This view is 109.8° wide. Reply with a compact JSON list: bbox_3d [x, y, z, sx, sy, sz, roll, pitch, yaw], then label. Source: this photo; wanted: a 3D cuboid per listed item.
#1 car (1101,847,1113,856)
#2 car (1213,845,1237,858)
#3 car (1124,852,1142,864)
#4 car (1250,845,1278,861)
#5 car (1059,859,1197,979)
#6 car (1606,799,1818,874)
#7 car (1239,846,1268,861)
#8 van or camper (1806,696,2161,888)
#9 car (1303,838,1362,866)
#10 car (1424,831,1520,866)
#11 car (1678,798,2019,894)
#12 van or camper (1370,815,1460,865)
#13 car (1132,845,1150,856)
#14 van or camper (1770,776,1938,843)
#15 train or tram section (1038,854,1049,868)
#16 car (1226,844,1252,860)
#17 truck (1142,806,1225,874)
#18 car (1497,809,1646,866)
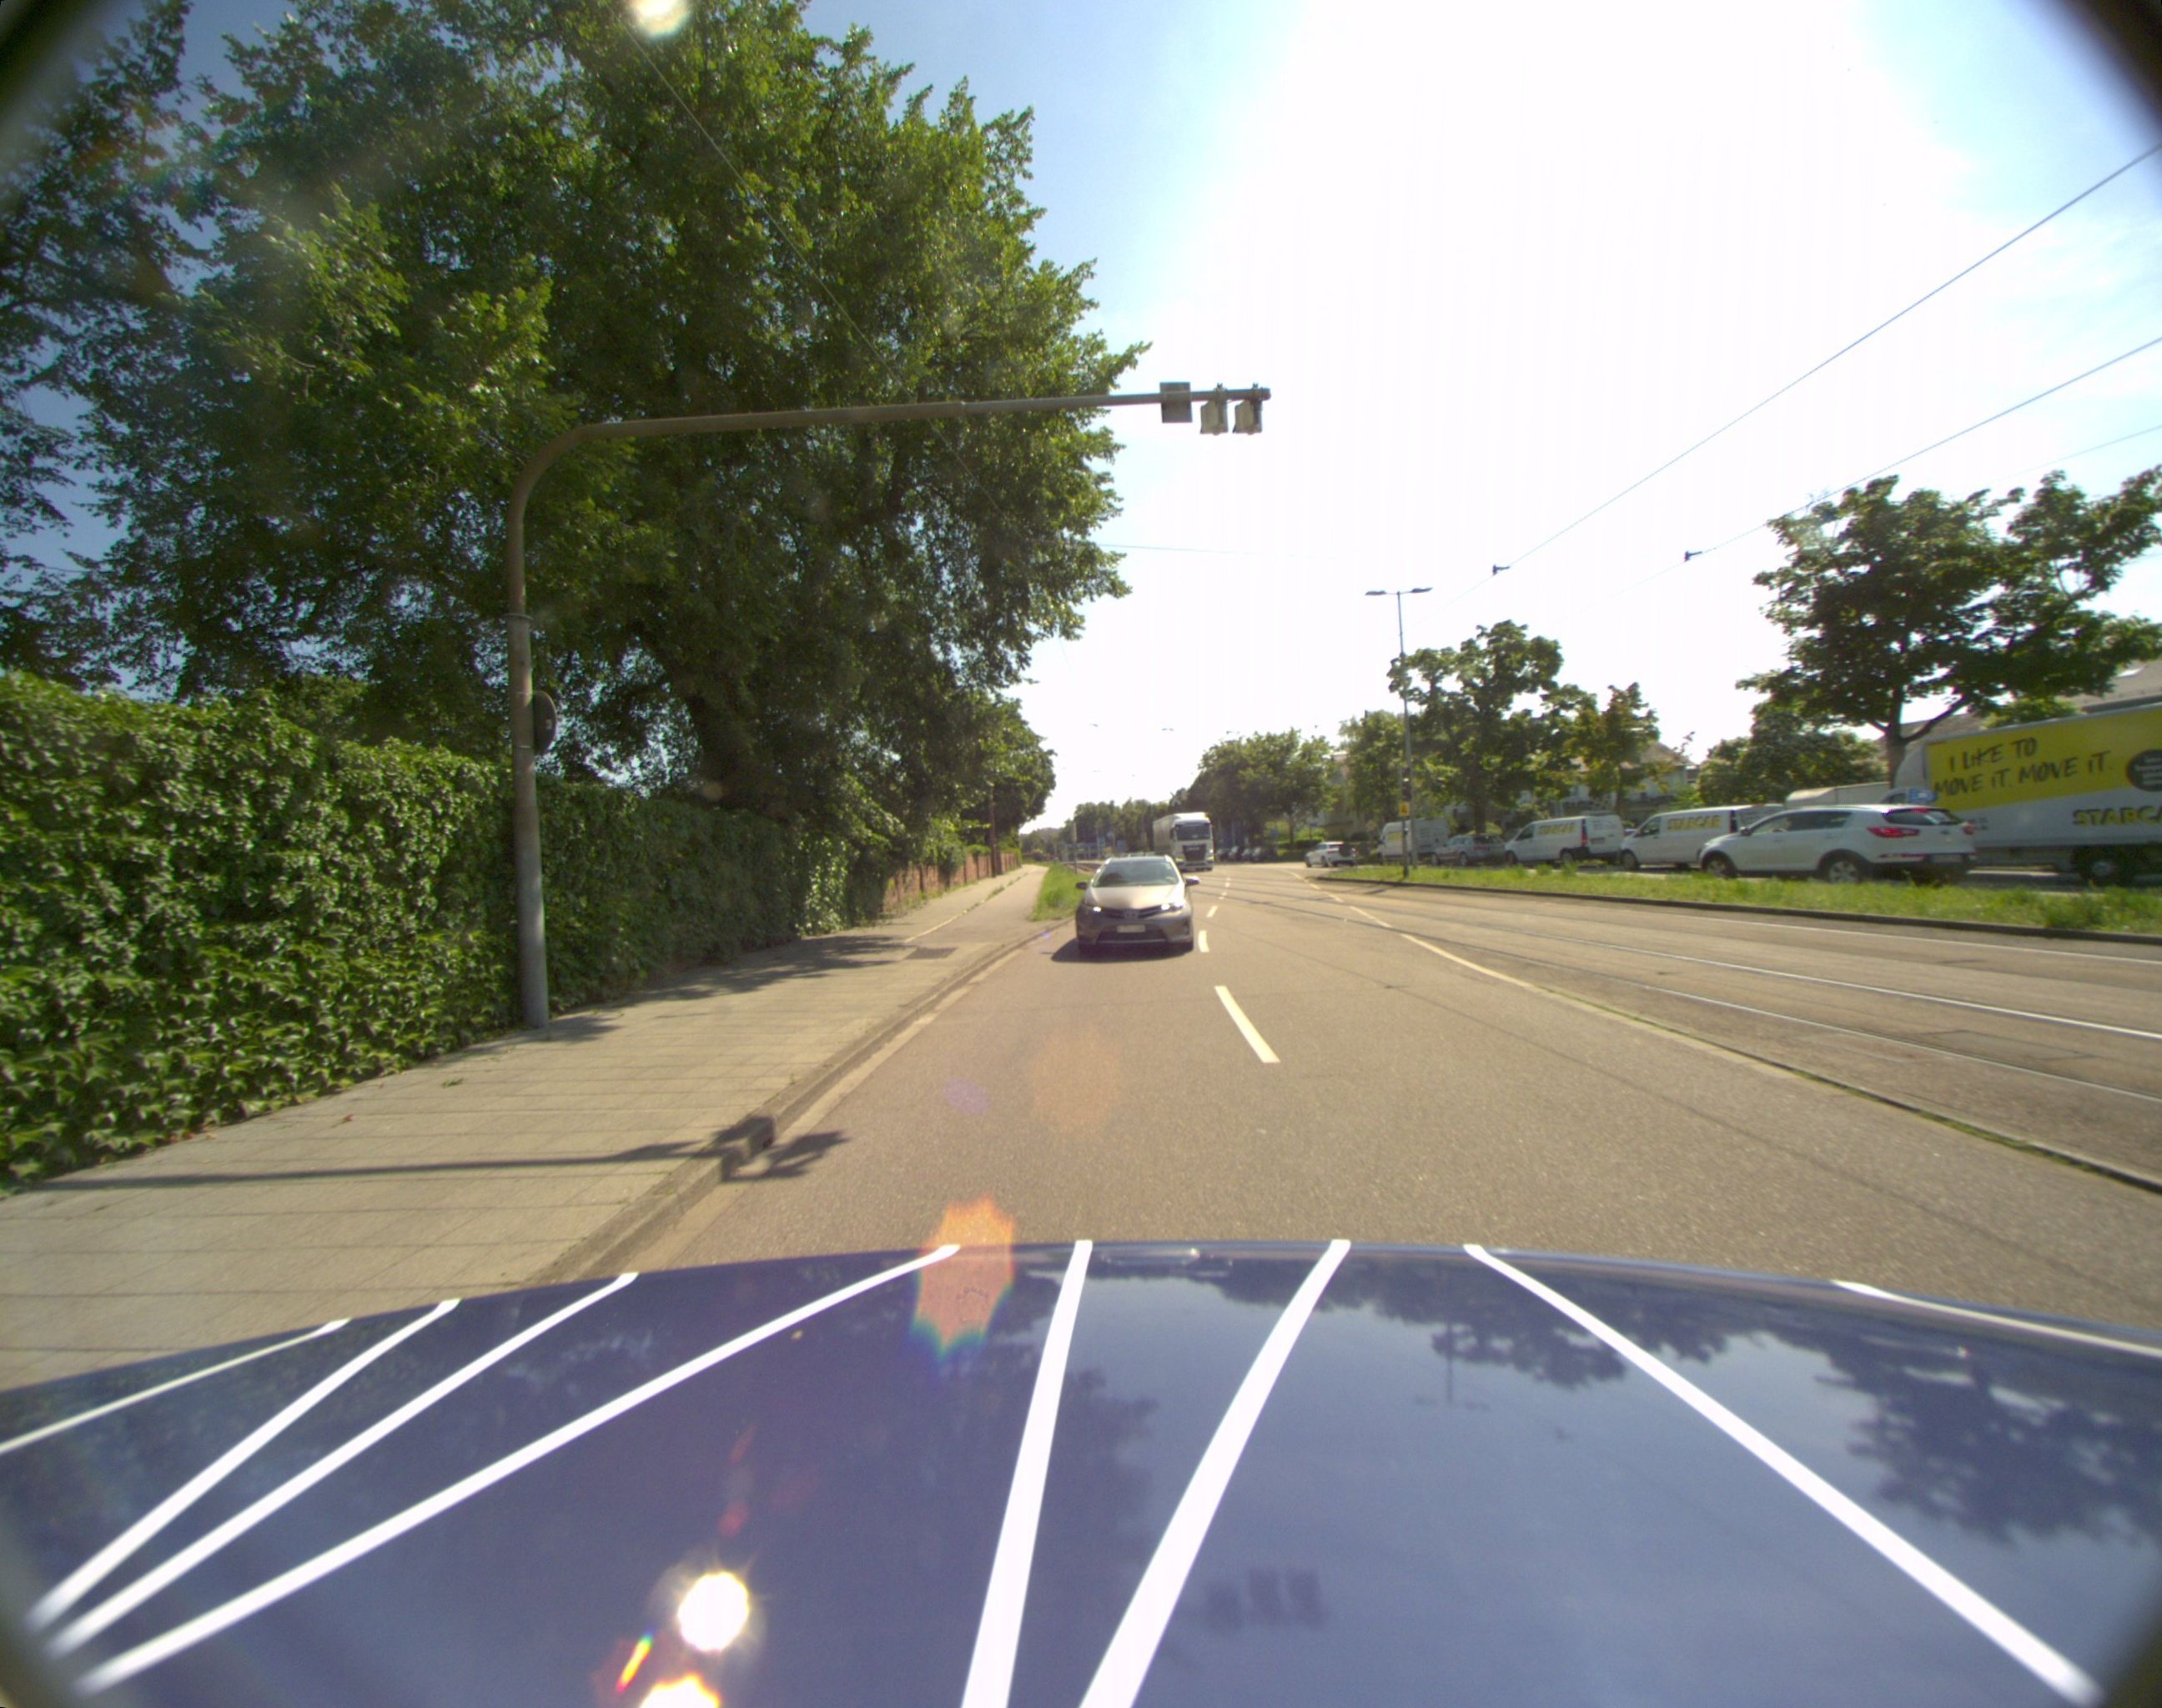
[{"bbox_3d":[5.811,-0.583,171.087,2.000,1.783,3.997,-3,0,-8],"label":"car"},{"bbox_3d":[17.039,-0.258,90.137,1.679,1.427,4.456,-3,0,-4],"label":"car"},{"bbox_3d":[6.160,0.444,90.198,1.700,1.248,3.999,-3,0,-1],"label":"car"},{"bbox_3d":[17.502,-0.108,72.903,1.620,1.442,4.082,-3,0,0],"label":"car"},{"bbox_3d":[0.828,0.865,11.907,1.719,1.439,4.032,-3,0,6],"label":"car"},{"bbox_3d":[19.518,-0.492,23.936,2.201,1.929,5.184,-5,0,0],"label":"car"},{"bbox_3d":[17.621,-0.016,77.778,1.701,1.387,4.580,-3,0,-2],"label":"car"},{"bbox_3d":[19.291,-1.130,15.557,2.201,3.222,6.771,-5,0,0],"label":"van or camper"},{"bbox_3d":[14.255,-0.109,43.330,1.796,1.414,4.335,-3,0,-1],"label":"car"},{"bbox_3d":[18.778,-0.251,36.825,1.937,1.446,4.884,-4,0,-2],"label":"car"},{"bbox_3d":[14.881,-0.138,15.241,2.048,1.588,4.659,-2,0,-2],"label":"car"},{"bbox_3d":[18.652,-0.739,42.868,2.263,2.500,6.146,-3,0,0],"label":"van or camper"},{"bbox_3d":[10.145,-0.610,128.772,2.000,1.805,3.997,-3,0,-8],"label":"car"},{"bbox_3d":[43.097,-2.435,42.462,6.969,3.226,2.581,-3,1,-4],"label":"van or camper"},{"bbox_3d":[-10.968,2.006,222.993,2.677,3.631,15.301,-5,1,-2],"label":"train or tram section"},{"bbox_3d":[17.328,-0.201,83.399,1.679,1.603,4.240,-3,1,-4],"label":"car"},{"bbox_3d":[7.118,-0.970,55.537,3.392,4.046,14.282,-5,1,-2],"label":"truck"},{"bbox_3d":[19.567,-0.602,30.695,2.202,1.929,5.182,-5,0,-6],"label":"car"}]
